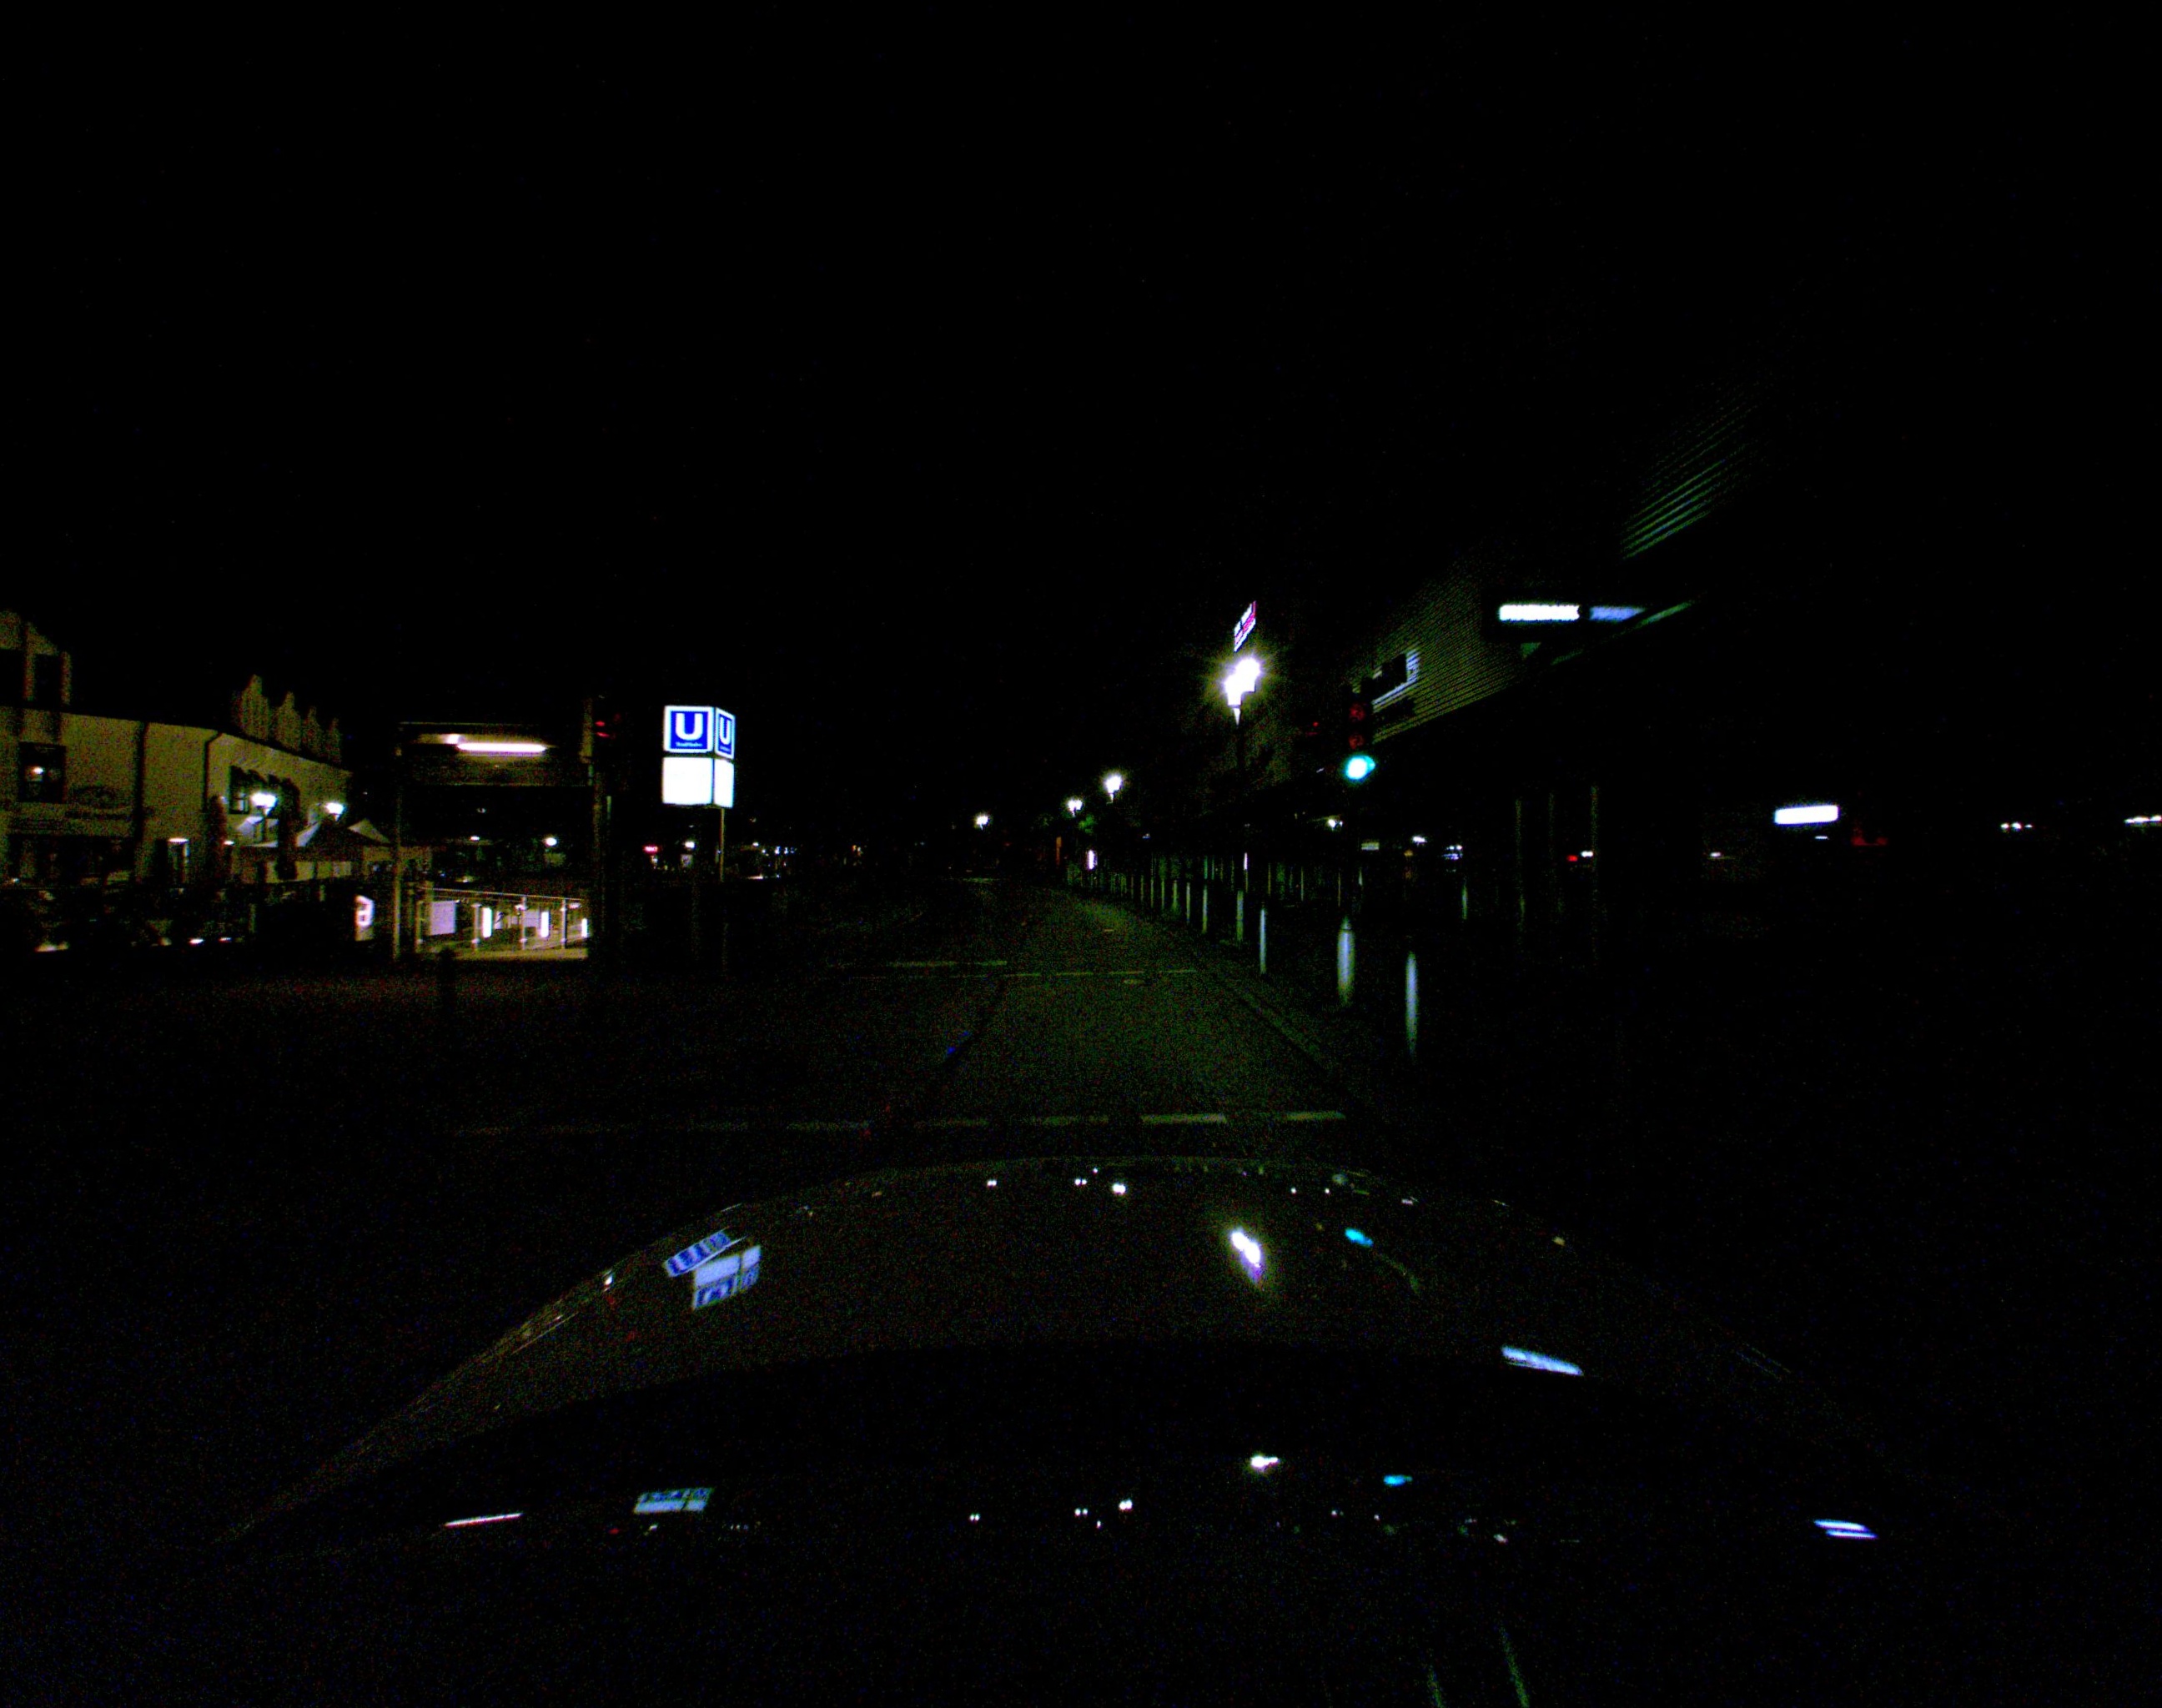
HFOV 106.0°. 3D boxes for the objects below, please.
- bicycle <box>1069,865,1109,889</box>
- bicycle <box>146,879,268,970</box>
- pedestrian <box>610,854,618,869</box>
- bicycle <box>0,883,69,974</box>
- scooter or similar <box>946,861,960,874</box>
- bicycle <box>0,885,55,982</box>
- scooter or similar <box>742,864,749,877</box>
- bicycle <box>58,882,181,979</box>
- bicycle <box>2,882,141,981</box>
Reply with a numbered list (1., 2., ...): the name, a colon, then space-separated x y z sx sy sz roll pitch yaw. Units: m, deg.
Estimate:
1. bicycle: 0.380 1.055 37.995 1.757 1.062 0.650 0 0 -24
2. bicycle: -12.845 0.990 12.037 0.764 1.162 1.730 -1 1 -31
3. pedestrian: -49.382 0.793 86.127 0.476 1.546 0.463 -1 0 26
4. bicycle: -14.736 1.018 10.878 0.608 1.165 1.737 -1 1 -16
5. scooter or similar: -12.673 1.351 80.594 1.253 1.227 0.593 2 0 -27
6. bicycle: -13.901 1.018 10.269 0.611 1.165 1.730 -1 1 -31
7. scooter or similar: -33.386 1.629 81.057 0.433 1.284 1.135 -1 1 -33
8. bicycle: -13.179 1.000 11.219 0.547 1.154 1.730 -1 1 -31
9. bicycle: -13.680 1.003 11.100 0.611 1.165 1.730 -1 1 -31
